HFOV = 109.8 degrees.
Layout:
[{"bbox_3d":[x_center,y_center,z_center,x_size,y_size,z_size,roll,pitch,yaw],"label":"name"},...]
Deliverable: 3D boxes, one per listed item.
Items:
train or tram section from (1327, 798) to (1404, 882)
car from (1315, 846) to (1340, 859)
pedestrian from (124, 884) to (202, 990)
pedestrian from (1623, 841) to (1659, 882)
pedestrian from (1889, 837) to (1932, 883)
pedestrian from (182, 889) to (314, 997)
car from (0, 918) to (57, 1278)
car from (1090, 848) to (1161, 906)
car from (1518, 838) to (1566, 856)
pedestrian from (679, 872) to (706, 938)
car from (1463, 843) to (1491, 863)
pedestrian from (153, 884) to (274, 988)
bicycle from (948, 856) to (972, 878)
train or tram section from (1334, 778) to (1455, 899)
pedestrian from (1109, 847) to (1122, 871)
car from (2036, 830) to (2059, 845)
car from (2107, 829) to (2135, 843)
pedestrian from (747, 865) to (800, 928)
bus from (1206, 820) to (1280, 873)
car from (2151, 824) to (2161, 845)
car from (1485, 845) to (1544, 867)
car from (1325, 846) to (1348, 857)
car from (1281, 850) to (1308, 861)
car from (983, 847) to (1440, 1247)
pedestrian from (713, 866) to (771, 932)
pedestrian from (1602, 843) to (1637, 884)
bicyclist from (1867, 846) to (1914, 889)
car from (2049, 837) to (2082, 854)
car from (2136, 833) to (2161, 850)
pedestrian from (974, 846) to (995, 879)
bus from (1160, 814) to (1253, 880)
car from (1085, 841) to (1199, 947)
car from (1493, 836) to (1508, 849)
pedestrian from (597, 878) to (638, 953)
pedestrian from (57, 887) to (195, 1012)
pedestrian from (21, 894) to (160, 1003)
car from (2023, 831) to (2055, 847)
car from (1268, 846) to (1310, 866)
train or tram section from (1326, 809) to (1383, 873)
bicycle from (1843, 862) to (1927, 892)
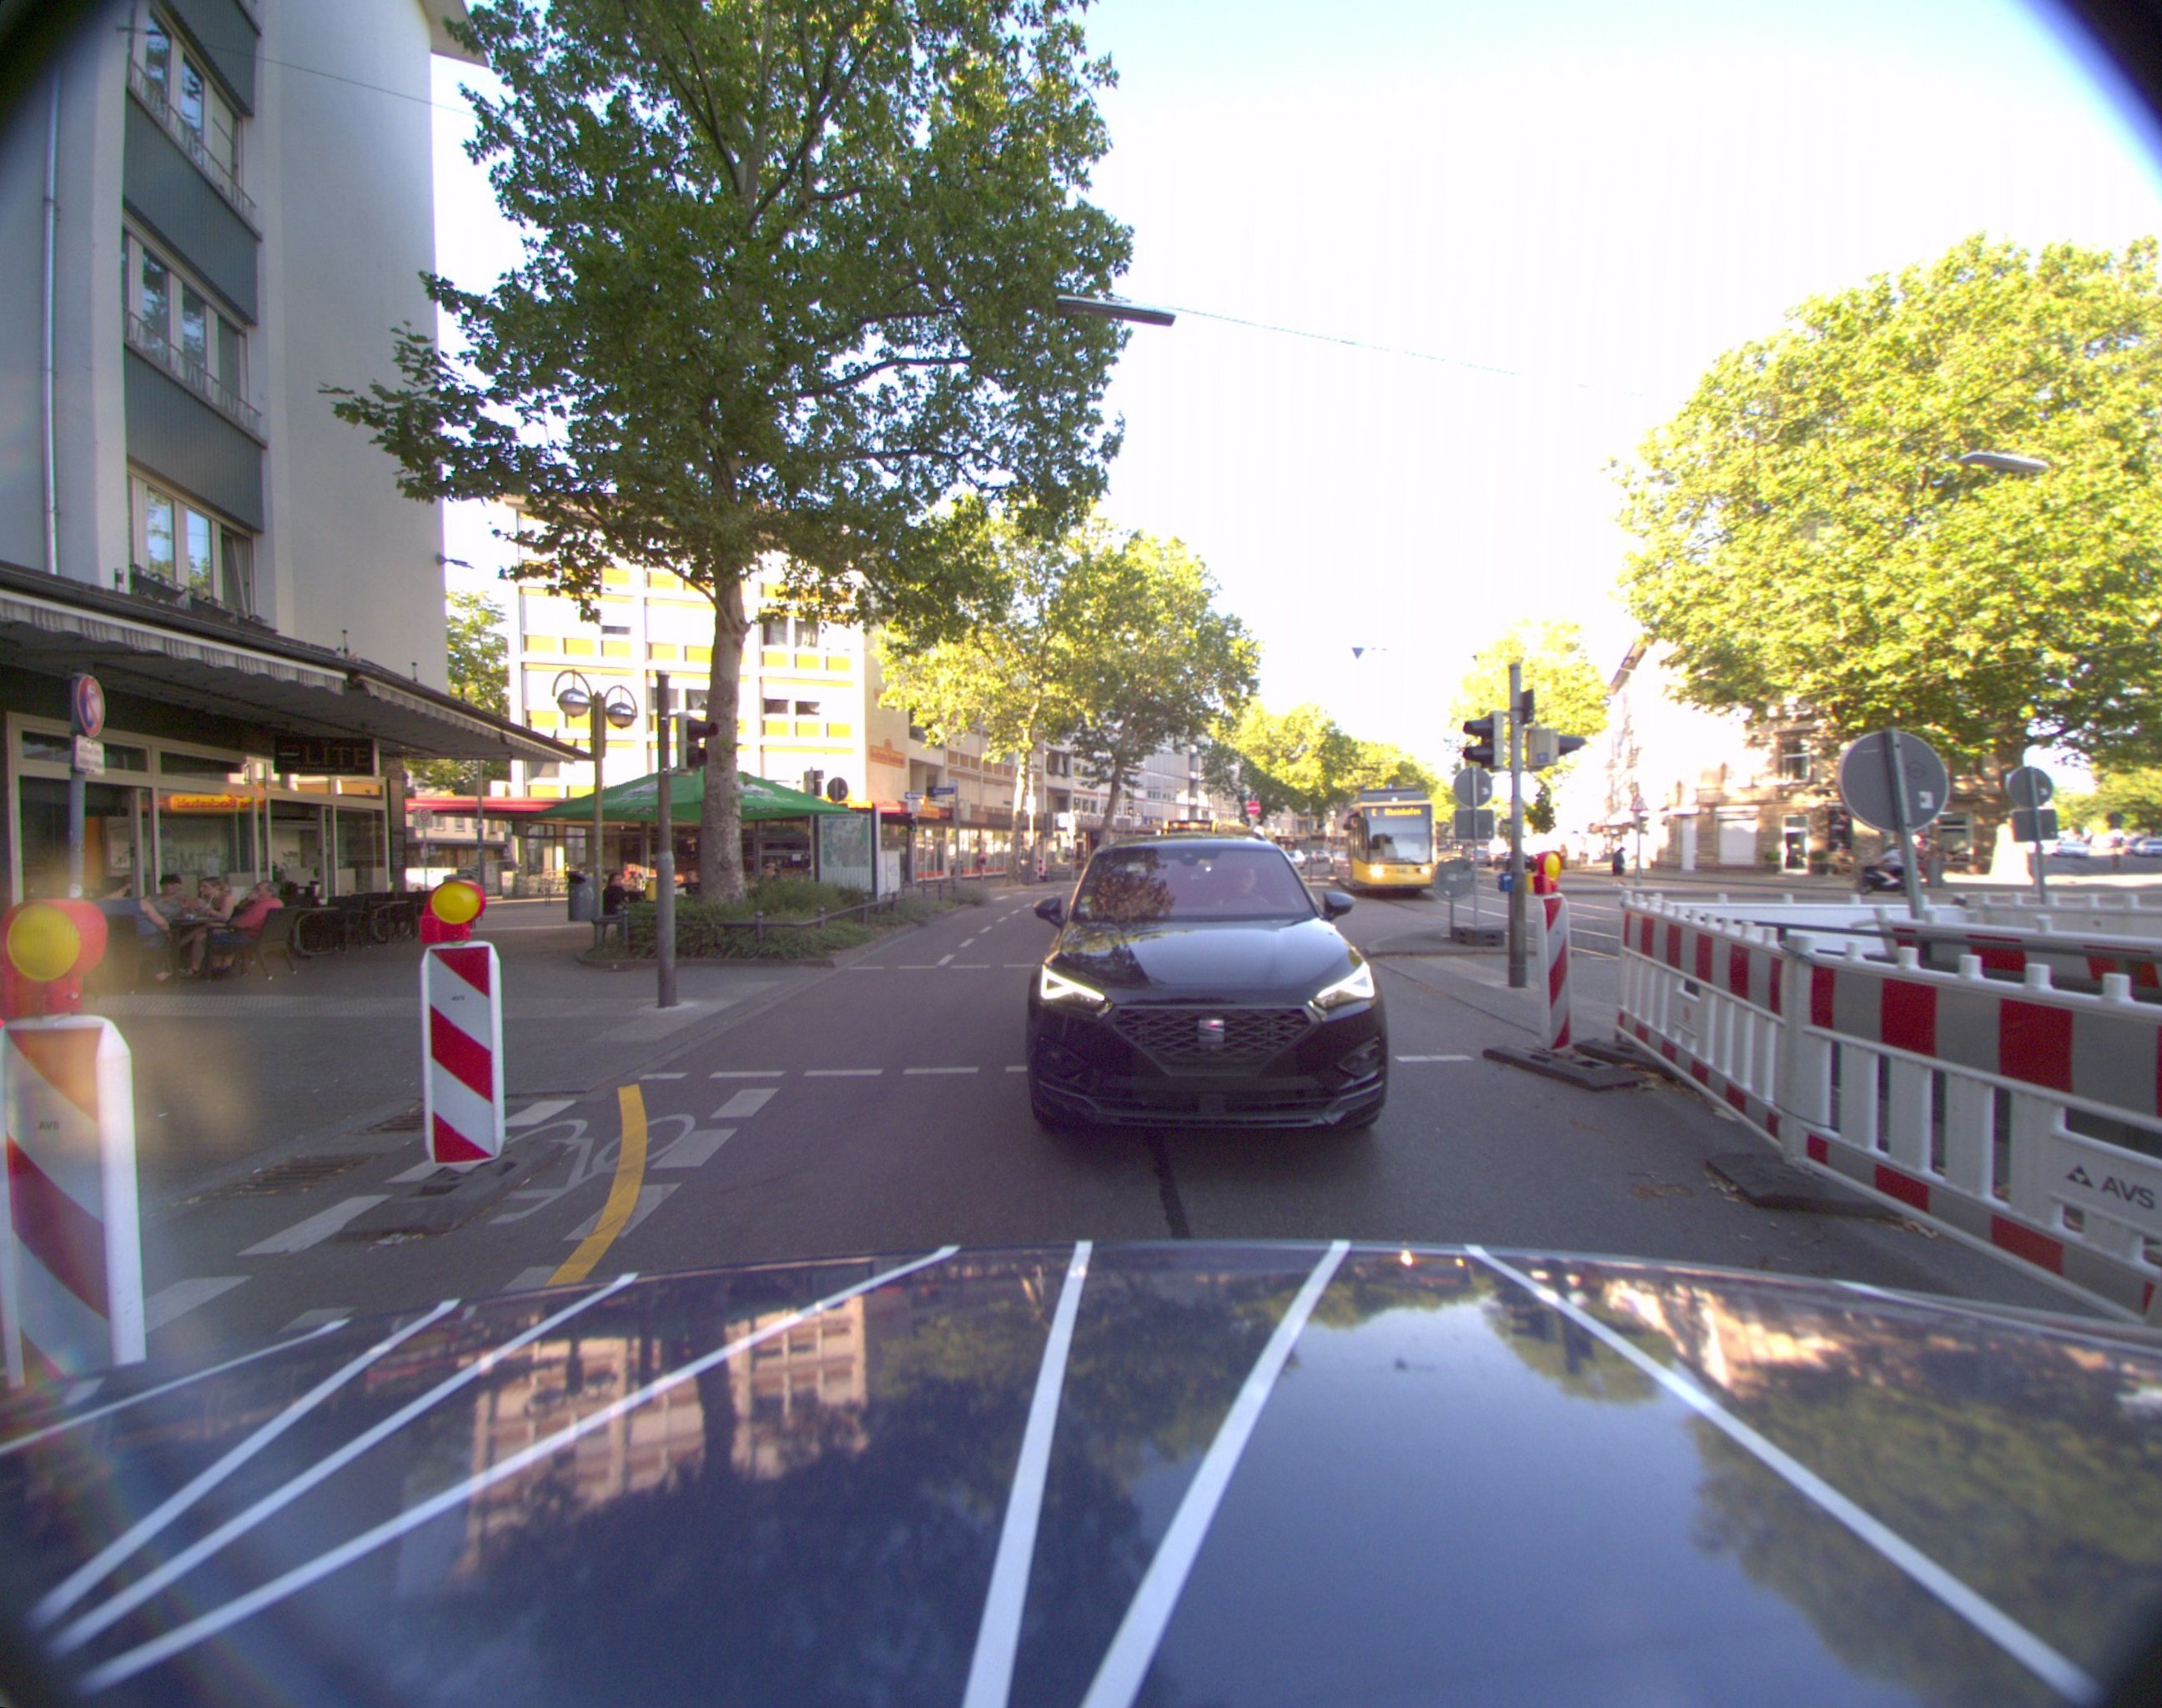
[{"bbox_3d":[13.571,-0.646,36.930,2.839,3.467,10.350,-1,1,17],"label":"train or tram section"},{"bbox_3d":[29.800,-0.168,91.862,2.627,1.464,1.201,-1,2,3],"label":"car"},{"bbox_3d":[-11.241,0.989,9.305,0.519,1.236,0.553,0,0,34],"label":"pedestrian"},{"bbox_3d":[20.943,0.282,28.436,0.798,1.500,0.800,-1,1,-23],"label":"pedestrian"},{"bbox_3d":[31.816,0.219,29.153,0.797,1.746,0.802,-1,1,0],"label":"pedestrian"},{"bbox_3d":[-9.845,1.023,9.012,0.847,1.191,0.649,1,0,-22],"label":"pedestrian"},{"bbox_3d":[-5.158,0.997,1.437,1.623,1.457,3.604,2,0,-2],"label":"car"},{"bbox_3d":[1.419,0.604,22.544,1.743,1.492,4.301,-2,0,7],"label":"car"},{"bbox_3d":[52.692,-0.771,86.814,4.651,1.965,1.901,-1,1,-11],"label":"car"},{"bbox_3d":[-7.409,0.964,14.496,0.433,1.212,0.467,0,1,-29],"label":"pedestrian"},{"bbox_3d":[33.104,-0.063,63.475,1.949,1.645,4.699,0,0,29],"label":"car"},{"bbox_3d":[-10.691,0.989,9.392,0.666,1.211,0.717,0,0,-5],"label":"pedestrian"},{"bbox_3d":[-6.664,0.698,42.045,0.528,1.136,1.976,0,1,15],"label":"bicycle"},{"bbox_3d":[10.717,-0.493,26.987,2.820,3.467,10.350,-1,1,16],"label":"train or tram section"},{"bbox_3d":[2.613,0.368,57.463,0.748,1.747,0.903,0,1,17],"label":"pedestrian"},{"bbox_3d":[134.665,-2.331,105.838,4.007,2.004,1.846,-1,1,-36],"label":"car"},{"bbox_3d":[108.919,-1.875,79.571,4.007,1.485,1.723,-1,1,-36],"label":"car"},{"bbox_3d":[-6.539,0.888,16.197,0.718,1.278,0.769,-1,1,13],"label":"pedestrian"},{"bbox_3d":[10.688,-0.496,49.185,2.748,3.085,9.512,0,1,24],"label":"bus"},{"bbox_3d":[111.448,-2.036,77.991,4.007,2.131,1.846,-1,1,-36],"label":"car"},{"bbox_3d":[29.375,0.123,51.674,1.997,1.440,4.541,0,0,9],"label":"car"},{"bbox_3d":[32.916,-0.317,97.846,2.627,1.274,1.201,-1,2,3],"label":"car"},{"bbox_3d":[23.932,0.140,85.032,2.629,1.209,1.200,-1,2,-6],"label":"car"},{"bbox_3d":[0.686,0.807,5.322,1.848,1.648,4.300,-2,0,4],"label":"car"},{"bbox_3d":[-6.807,0.891,15.273,0.718,1.278,0.769,-1,1,14],"label":"pedestrian"},{"bbox_3d":[20.092,0.358,28.355,0.799,1.500,0.800,-1,1,-28],"label":"pedestrian"},{"bbox_3d":[24.741,0.391,23.222,0.561,1.287,0.804,-1,1,-7],"label":"bicyclist"},{"bbox_3d":[91.006,-0.790,70.196,4.007,1.485,1.723,-1,1,-36],"label":"car"},{"bbox_3d":[98.527,-1.155,69.886,4.007,1.485,1.723,-1,1,-36],"label":"car"},{"bbox_3d":[-5.133,0.457,40.472,0.748,1.747,0.903,0,1,17],"label":"pedestrian"},{"bbox_3d":[6.906,-0.383,40.442,2.748,3.085,9.511,0,1,23],"label":"bus"},{"bbox_3d":[1.166,0.613,14.100,1.743,1.630,4.300,-2,0,6],"label":"car"},{"bbox_3d":[69.975,-1.965,126.673,2.162,2.110,4.987,1,1,29],"label":"car"},{"bbox_3d":[-7.779,1.014,12.761,0.469,1.212,0.431,-2,1,-44],"label":"pedestrian"},{"bbox_3d":[-10.218,0.987,8.161,0.651,1.244,0.716,0,0,-24],"label":"pedestrian"},{"bbox_3d":[-11.085,1.030,8.536,0.718,1.123,0.649,1,0,-24],"label":"pedestrian"},{"bbox_3d":[94.160,-1.461,74.678,4.007,1.485,1.723,-1,1,-36],"label":"car"},{"bbox_3d":[16.400,0.146,59.799,1.907,1.467,4.426,0,2,32],"label":"car"},{"bbox_3d":[16.656,-0.760,46.793,2.874,3.467,10.351,-1,1,18],"label":"train or tram section"},{"bbox_3d":[24.721,0.702,23.413,0.561,0.857,1.800,-1,1,-7],"label":"bicycle"}]
